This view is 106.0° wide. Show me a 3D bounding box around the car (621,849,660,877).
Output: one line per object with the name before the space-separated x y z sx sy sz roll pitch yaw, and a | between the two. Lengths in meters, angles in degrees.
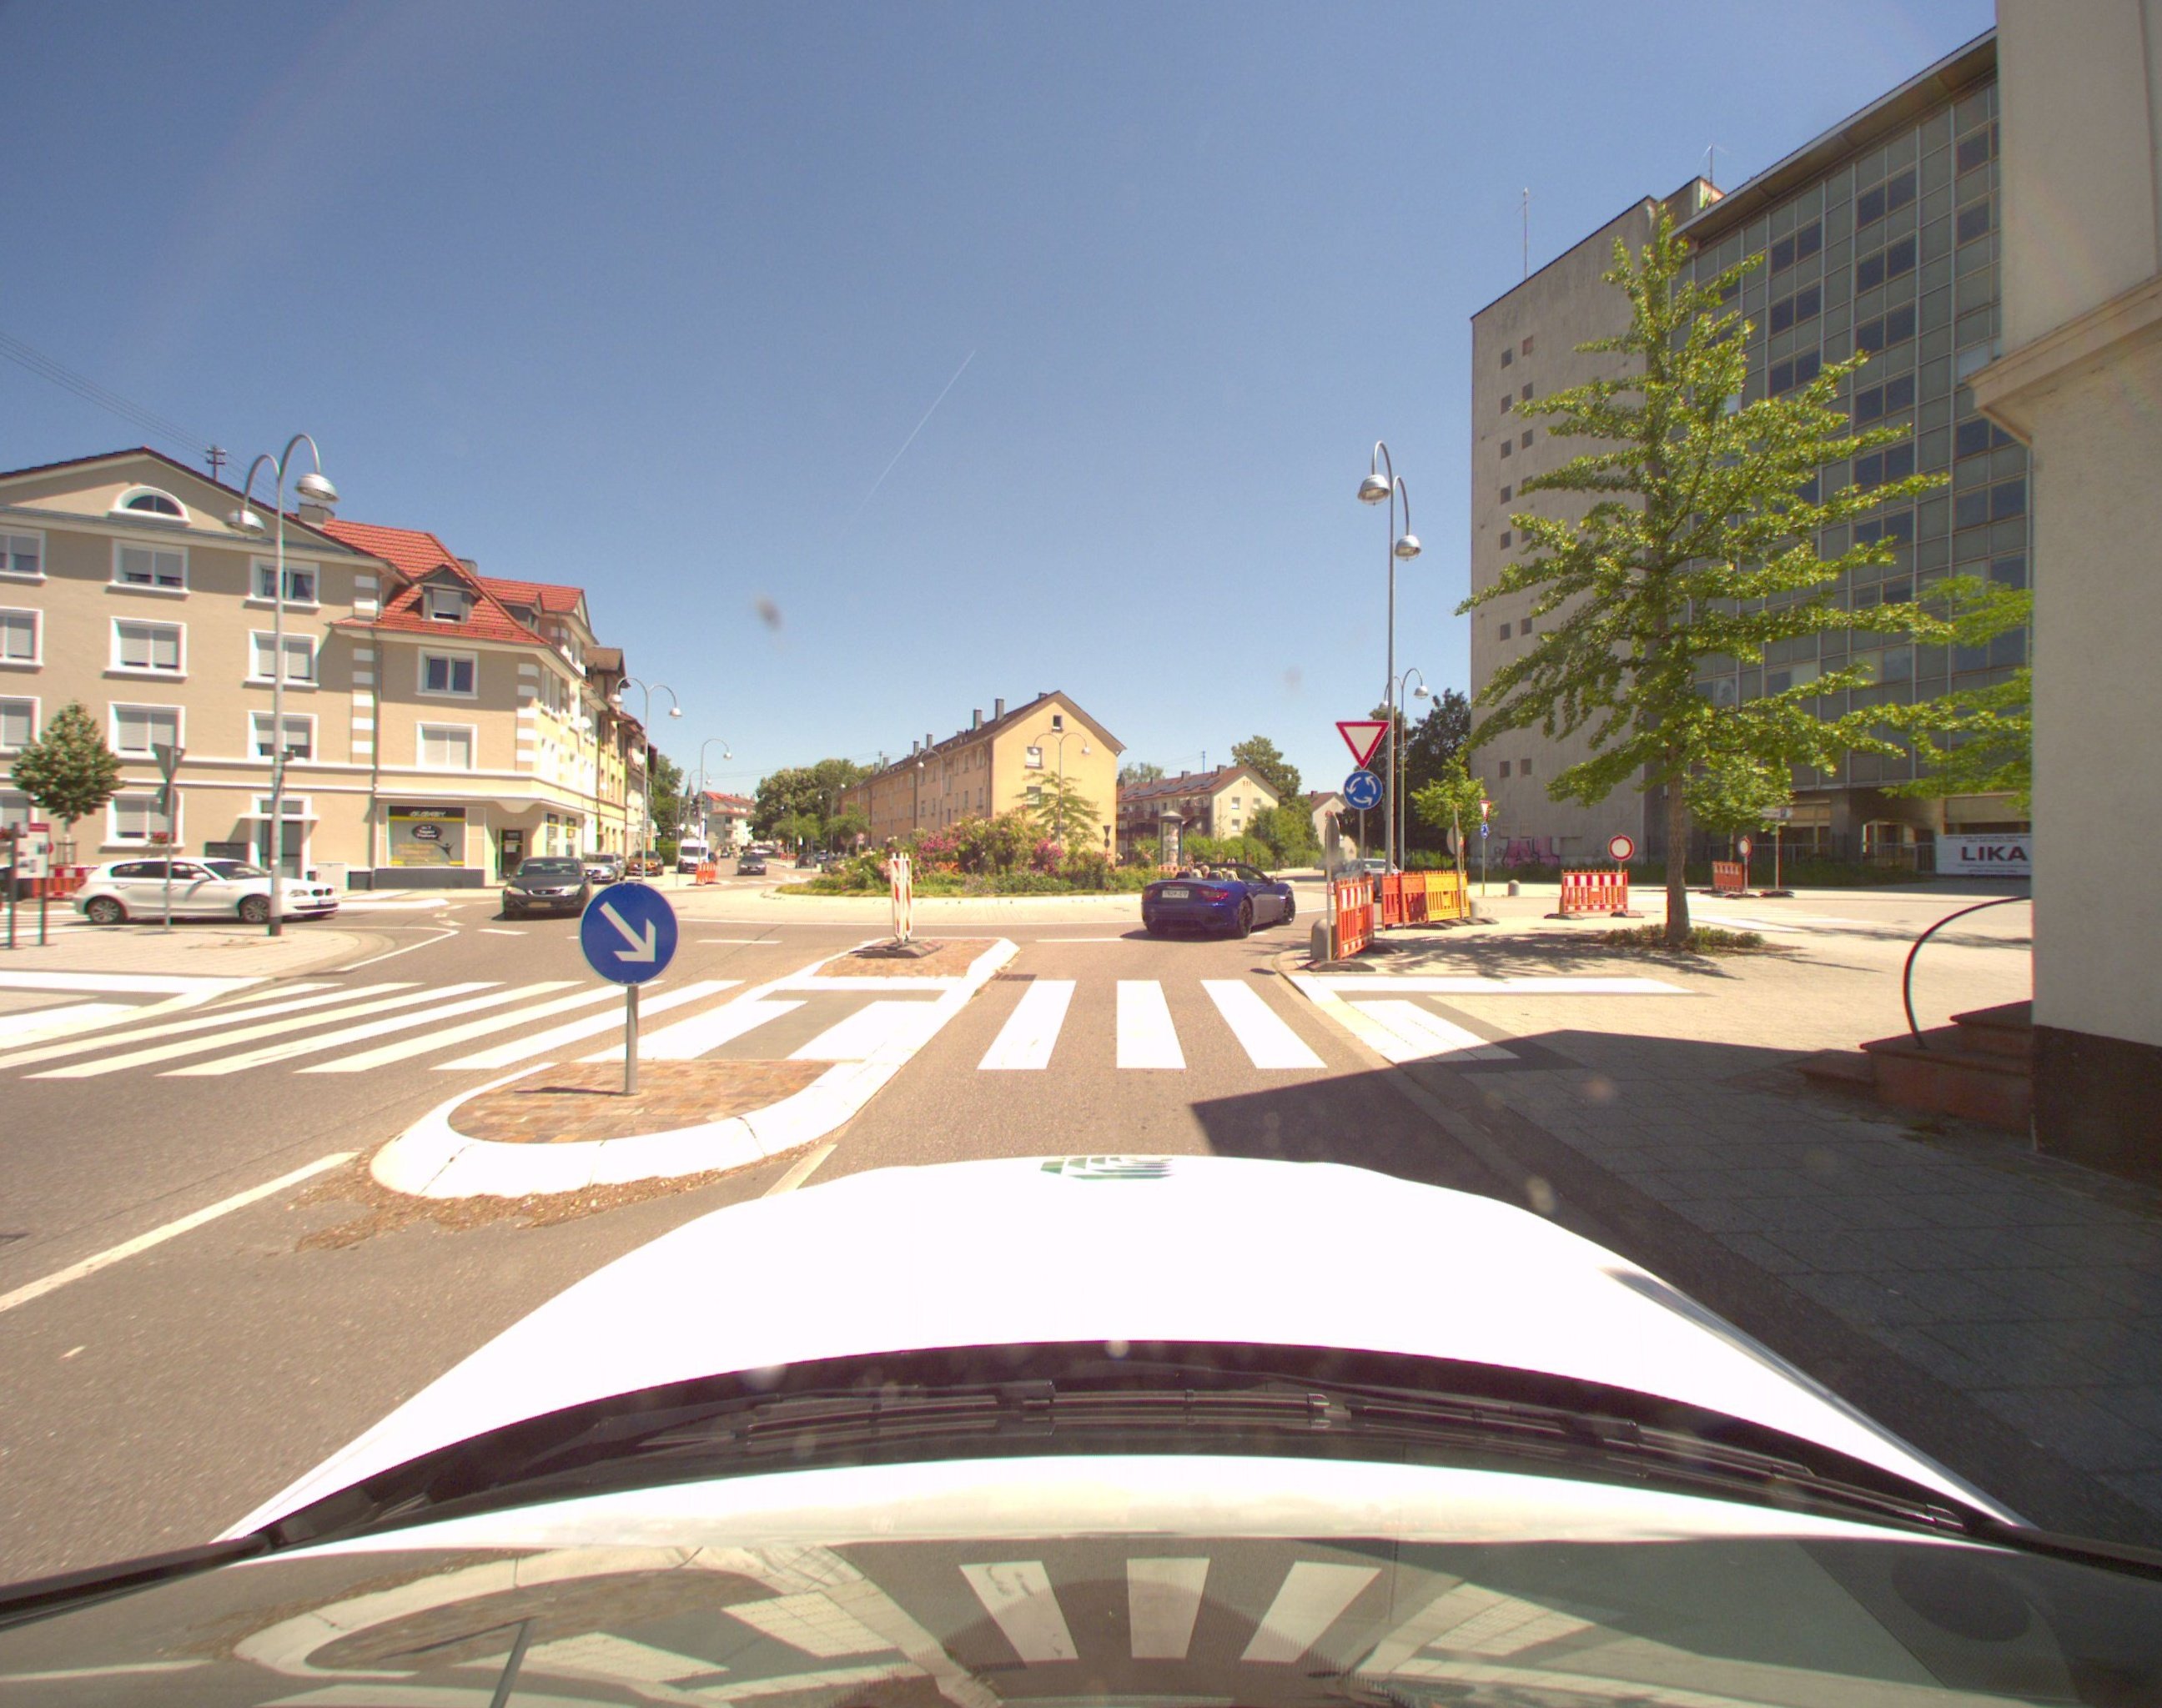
car | -27.063 0.552 50.136 1.605 1.617 4.061 3 -2 -22

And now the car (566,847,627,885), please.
car | -23.011 0.558 38.839 1.783 1.686 4.659 1 -1 -22

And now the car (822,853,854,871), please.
car | -20.789 0.680 69.563 1.822 1.500 3.964 3 -2 -28

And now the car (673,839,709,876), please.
car | -28.837 0.264 60.421 2.154 2.533 6.187 3 -2 -24

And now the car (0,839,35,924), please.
car | -24.767 0.545 16.392 4.240 1.778 1.771 1 -1 -18

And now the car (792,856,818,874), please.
car | -28.466 1.132 83.928 1.822 1.794 3.964 3 -2 -28

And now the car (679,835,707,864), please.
car | -35.880 -0.420 75.478 2.154 2.533 4.815 3 -2 -25

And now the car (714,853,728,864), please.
car | -61.452 0.735 139.113 1.822 1.794 3.964 3 -2 -28

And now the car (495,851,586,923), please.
car | -13.229 0.712 19.875 1.672 1.452 3.980 -1 2 -35

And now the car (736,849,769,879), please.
car | -23.362 0.719 58.037 2.001 2.014 3.971 3 -1 -22

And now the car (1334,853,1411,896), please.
car | 10.572 0.731 29.774 1.730 1.436 3.715 -1 -1 5

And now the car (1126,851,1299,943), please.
car | 2.745 0.788 16.029 1.853 1.530 4.534 -1 -2 30

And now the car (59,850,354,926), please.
car | -19.050 0.701 17.964 4.117 1.551 1.780 0 -1 -12

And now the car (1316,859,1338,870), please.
car | 31.254 1.330 103.393 1.722 1.436 3.734 -1 -1 31
